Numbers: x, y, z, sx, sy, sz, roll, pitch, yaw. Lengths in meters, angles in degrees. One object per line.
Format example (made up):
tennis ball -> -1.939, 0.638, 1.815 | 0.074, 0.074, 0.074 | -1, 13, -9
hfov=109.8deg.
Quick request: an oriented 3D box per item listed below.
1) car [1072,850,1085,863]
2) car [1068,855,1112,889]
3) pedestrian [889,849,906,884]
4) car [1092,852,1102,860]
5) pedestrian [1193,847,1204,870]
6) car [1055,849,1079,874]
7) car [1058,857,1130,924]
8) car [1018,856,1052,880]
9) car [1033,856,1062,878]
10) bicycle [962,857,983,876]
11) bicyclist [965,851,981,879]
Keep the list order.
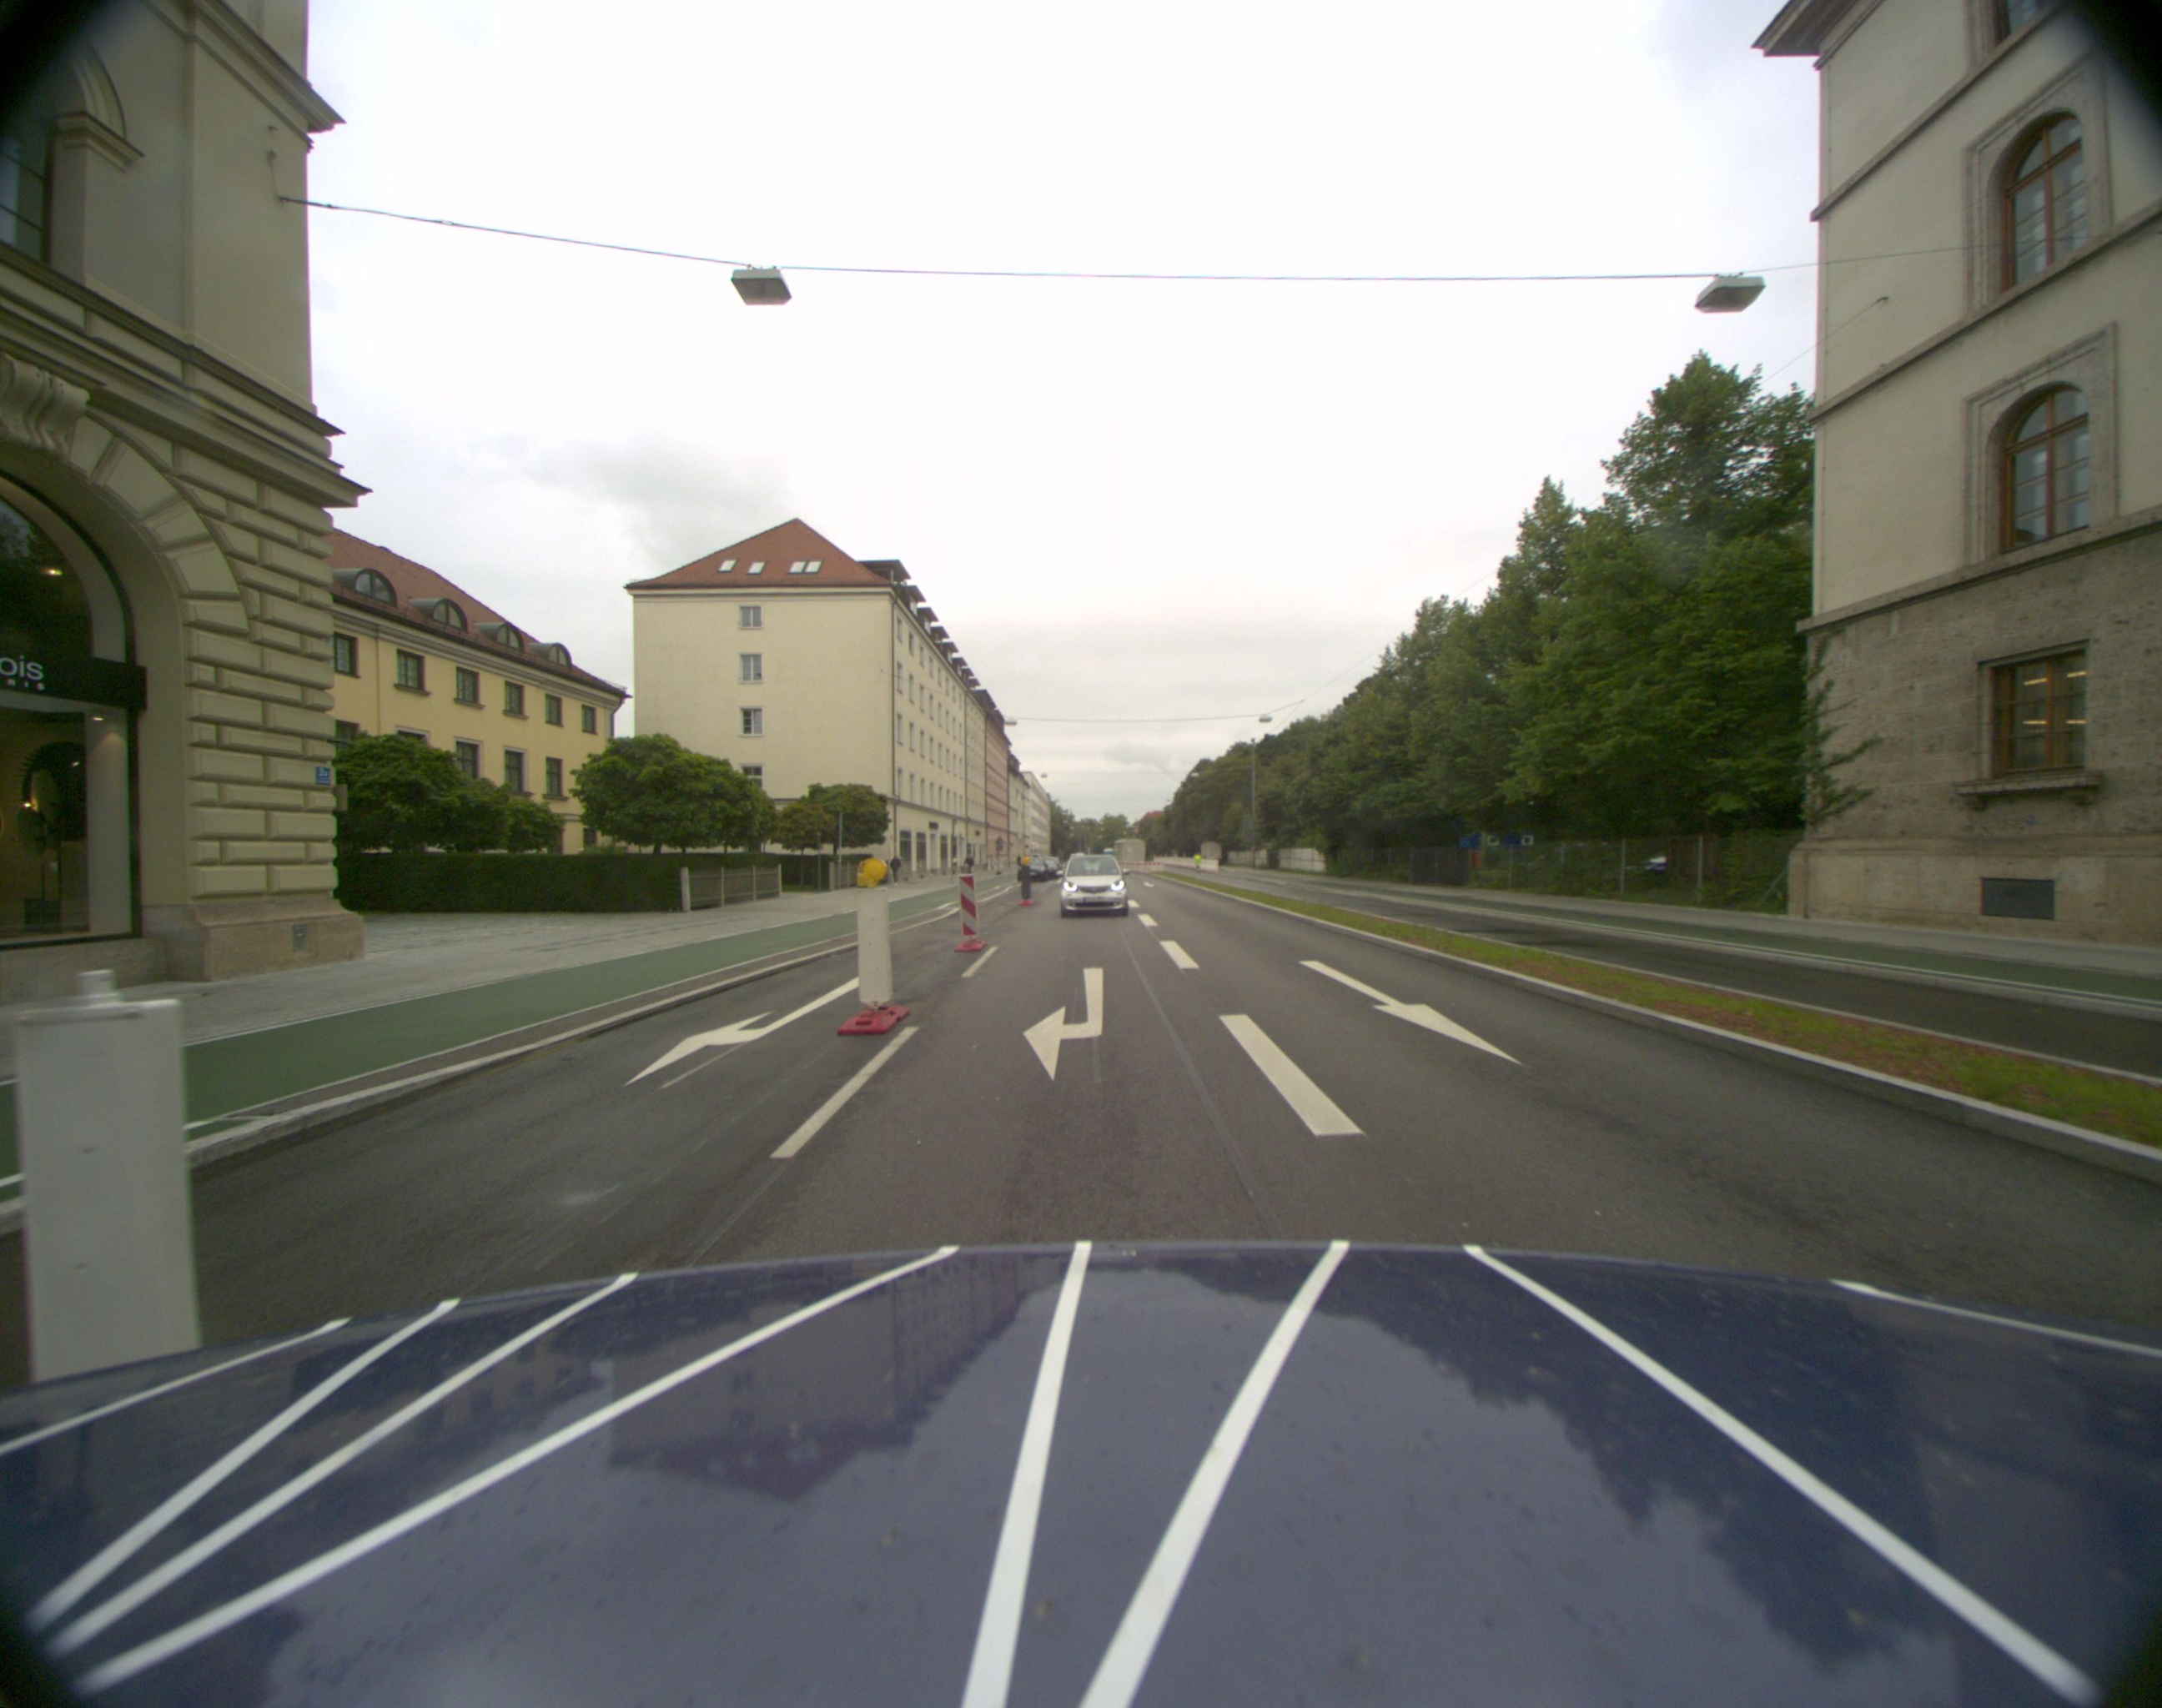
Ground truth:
car -> -0.376, 0.425, 119.001 | 1.998, 2.002, 4.000 | 0, 0, 1
car -> 0.428, 0.830, 36.724 | 1.922, 1.433, 4.306 | -2, 0, 0
pedestrian -> -9.810, 0.670, 40.592 | 0.655, 1.863, 0.826 | 1, 1, 1
car -> 2.917, 0.395, 137.971 | 1.739, 1.425, 4.000 | -1, 0, 1
pedestrian -> 10.712, 0.419, 69.214 | 0.757, 2.002, 0.867 | -2, 1, 1
car -> -1.144, 0.611, 64.066 | 1.998, 2.002, 4.000 | 0, 0, 0
car -> 0.319, 0.848, 19.580 | 1.633, 1.494, 4.000 | -1, 0, 1
car -> -2.791, 0.838, 46.718 | 1.739, 1.313, 4.000 | -1, 0, 1
car -> -2.236, 0.857, 52.093 | 1.739, 1.425, 4.000 | -1, 0, 1
bicycle -> -6.140, 0.690, 43.054 | 0.751, 1.026, 2.531 | -2, 0, 0
bicyclist -> -6.140, 0.625, 43.180 | 0.724, 1.543, 0.858 | -2, 1, 0
